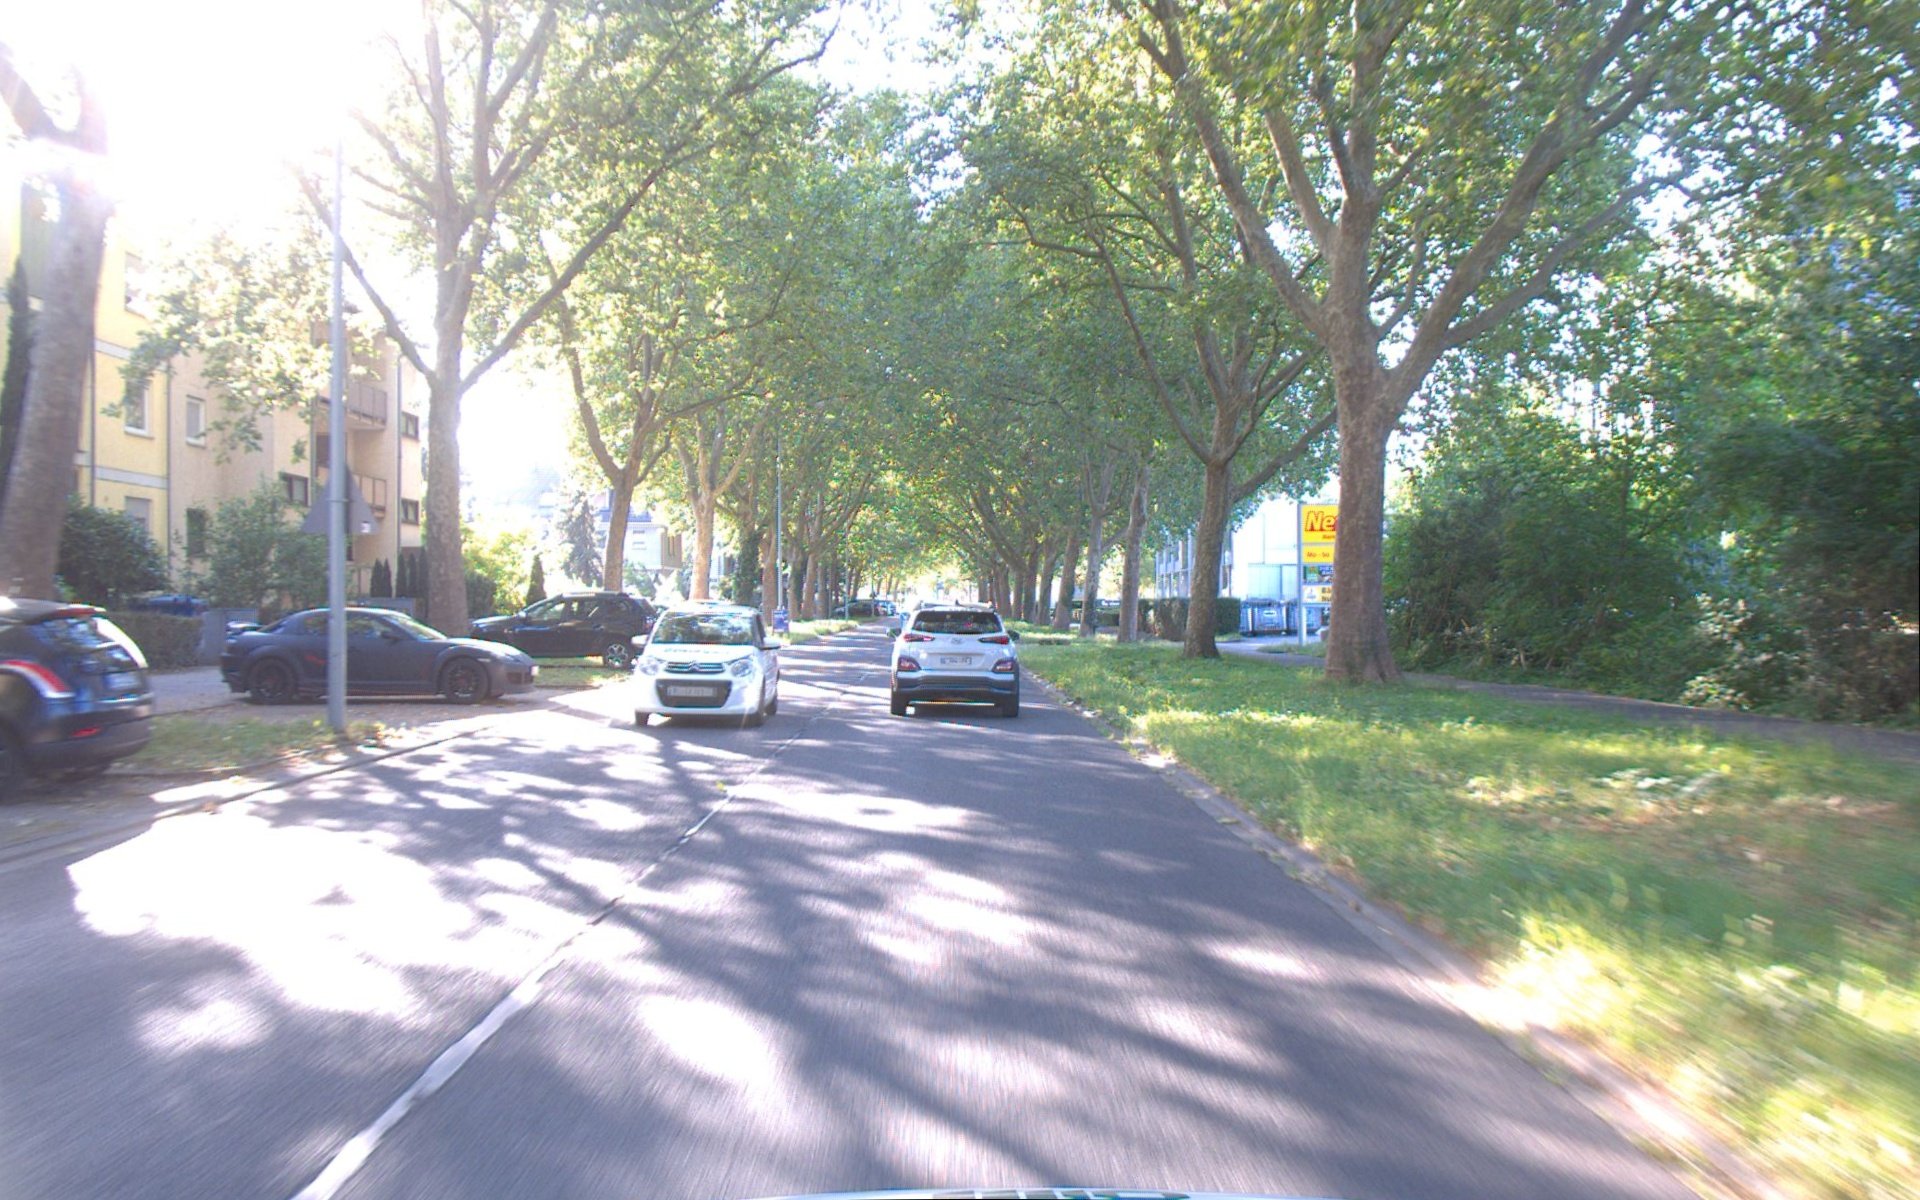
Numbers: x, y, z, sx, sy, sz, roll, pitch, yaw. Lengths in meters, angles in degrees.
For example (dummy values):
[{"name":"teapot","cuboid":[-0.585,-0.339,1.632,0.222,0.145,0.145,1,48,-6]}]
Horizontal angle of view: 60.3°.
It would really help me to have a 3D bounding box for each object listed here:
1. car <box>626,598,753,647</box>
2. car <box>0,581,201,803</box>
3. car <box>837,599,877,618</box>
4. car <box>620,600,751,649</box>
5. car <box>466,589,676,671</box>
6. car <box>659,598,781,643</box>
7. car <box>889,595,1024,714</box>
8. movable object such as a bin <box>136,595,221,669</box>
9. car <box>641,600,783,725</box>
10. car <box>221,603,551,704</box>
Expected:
[{"name":"car","cuboid":[-8.880,0.716,54.476,3.907,1.546,1.808,1,0,-2]},{"name":"car","cuboid":[-8.055,0.633,12.193,4.079,1.532,1.800,0,0,-5]},{"name":"car","cuboid":[-10.203,0.822,163.774,3.910,1.803,1.997,1,-1,-6]},{"name":"car","cuboid":[-8.556,0.755,51.795,3.909,1.449,1.807,1,0,-5]},{"name":"car","cuboid":[-8.405,0.638,35.982,4.158,1.709,1.670,0,0,-1]},{"name":"car","cuboid":[-8.276,0.688,57.230,3.905,1.496,1.809,1,0,0]},{"name":"car","cuboid":[-0.085,0.750,24.185,1.798,1.583,3.999,1,-1,-1]},{"name":"movable object such as a bin","cuboid":[-14.928,0.609,31.625,1.161,1.374,0.953,0,-1,-1]},{"name":"car","cuboid":[-3.126,0.746,21.301,1.505,1.484,3.183,0,0,-3]},{"name":"car","cuboid":[-8.191,0.750,23.869,4.155,1.376,1.740,0,-1,-3]}]
